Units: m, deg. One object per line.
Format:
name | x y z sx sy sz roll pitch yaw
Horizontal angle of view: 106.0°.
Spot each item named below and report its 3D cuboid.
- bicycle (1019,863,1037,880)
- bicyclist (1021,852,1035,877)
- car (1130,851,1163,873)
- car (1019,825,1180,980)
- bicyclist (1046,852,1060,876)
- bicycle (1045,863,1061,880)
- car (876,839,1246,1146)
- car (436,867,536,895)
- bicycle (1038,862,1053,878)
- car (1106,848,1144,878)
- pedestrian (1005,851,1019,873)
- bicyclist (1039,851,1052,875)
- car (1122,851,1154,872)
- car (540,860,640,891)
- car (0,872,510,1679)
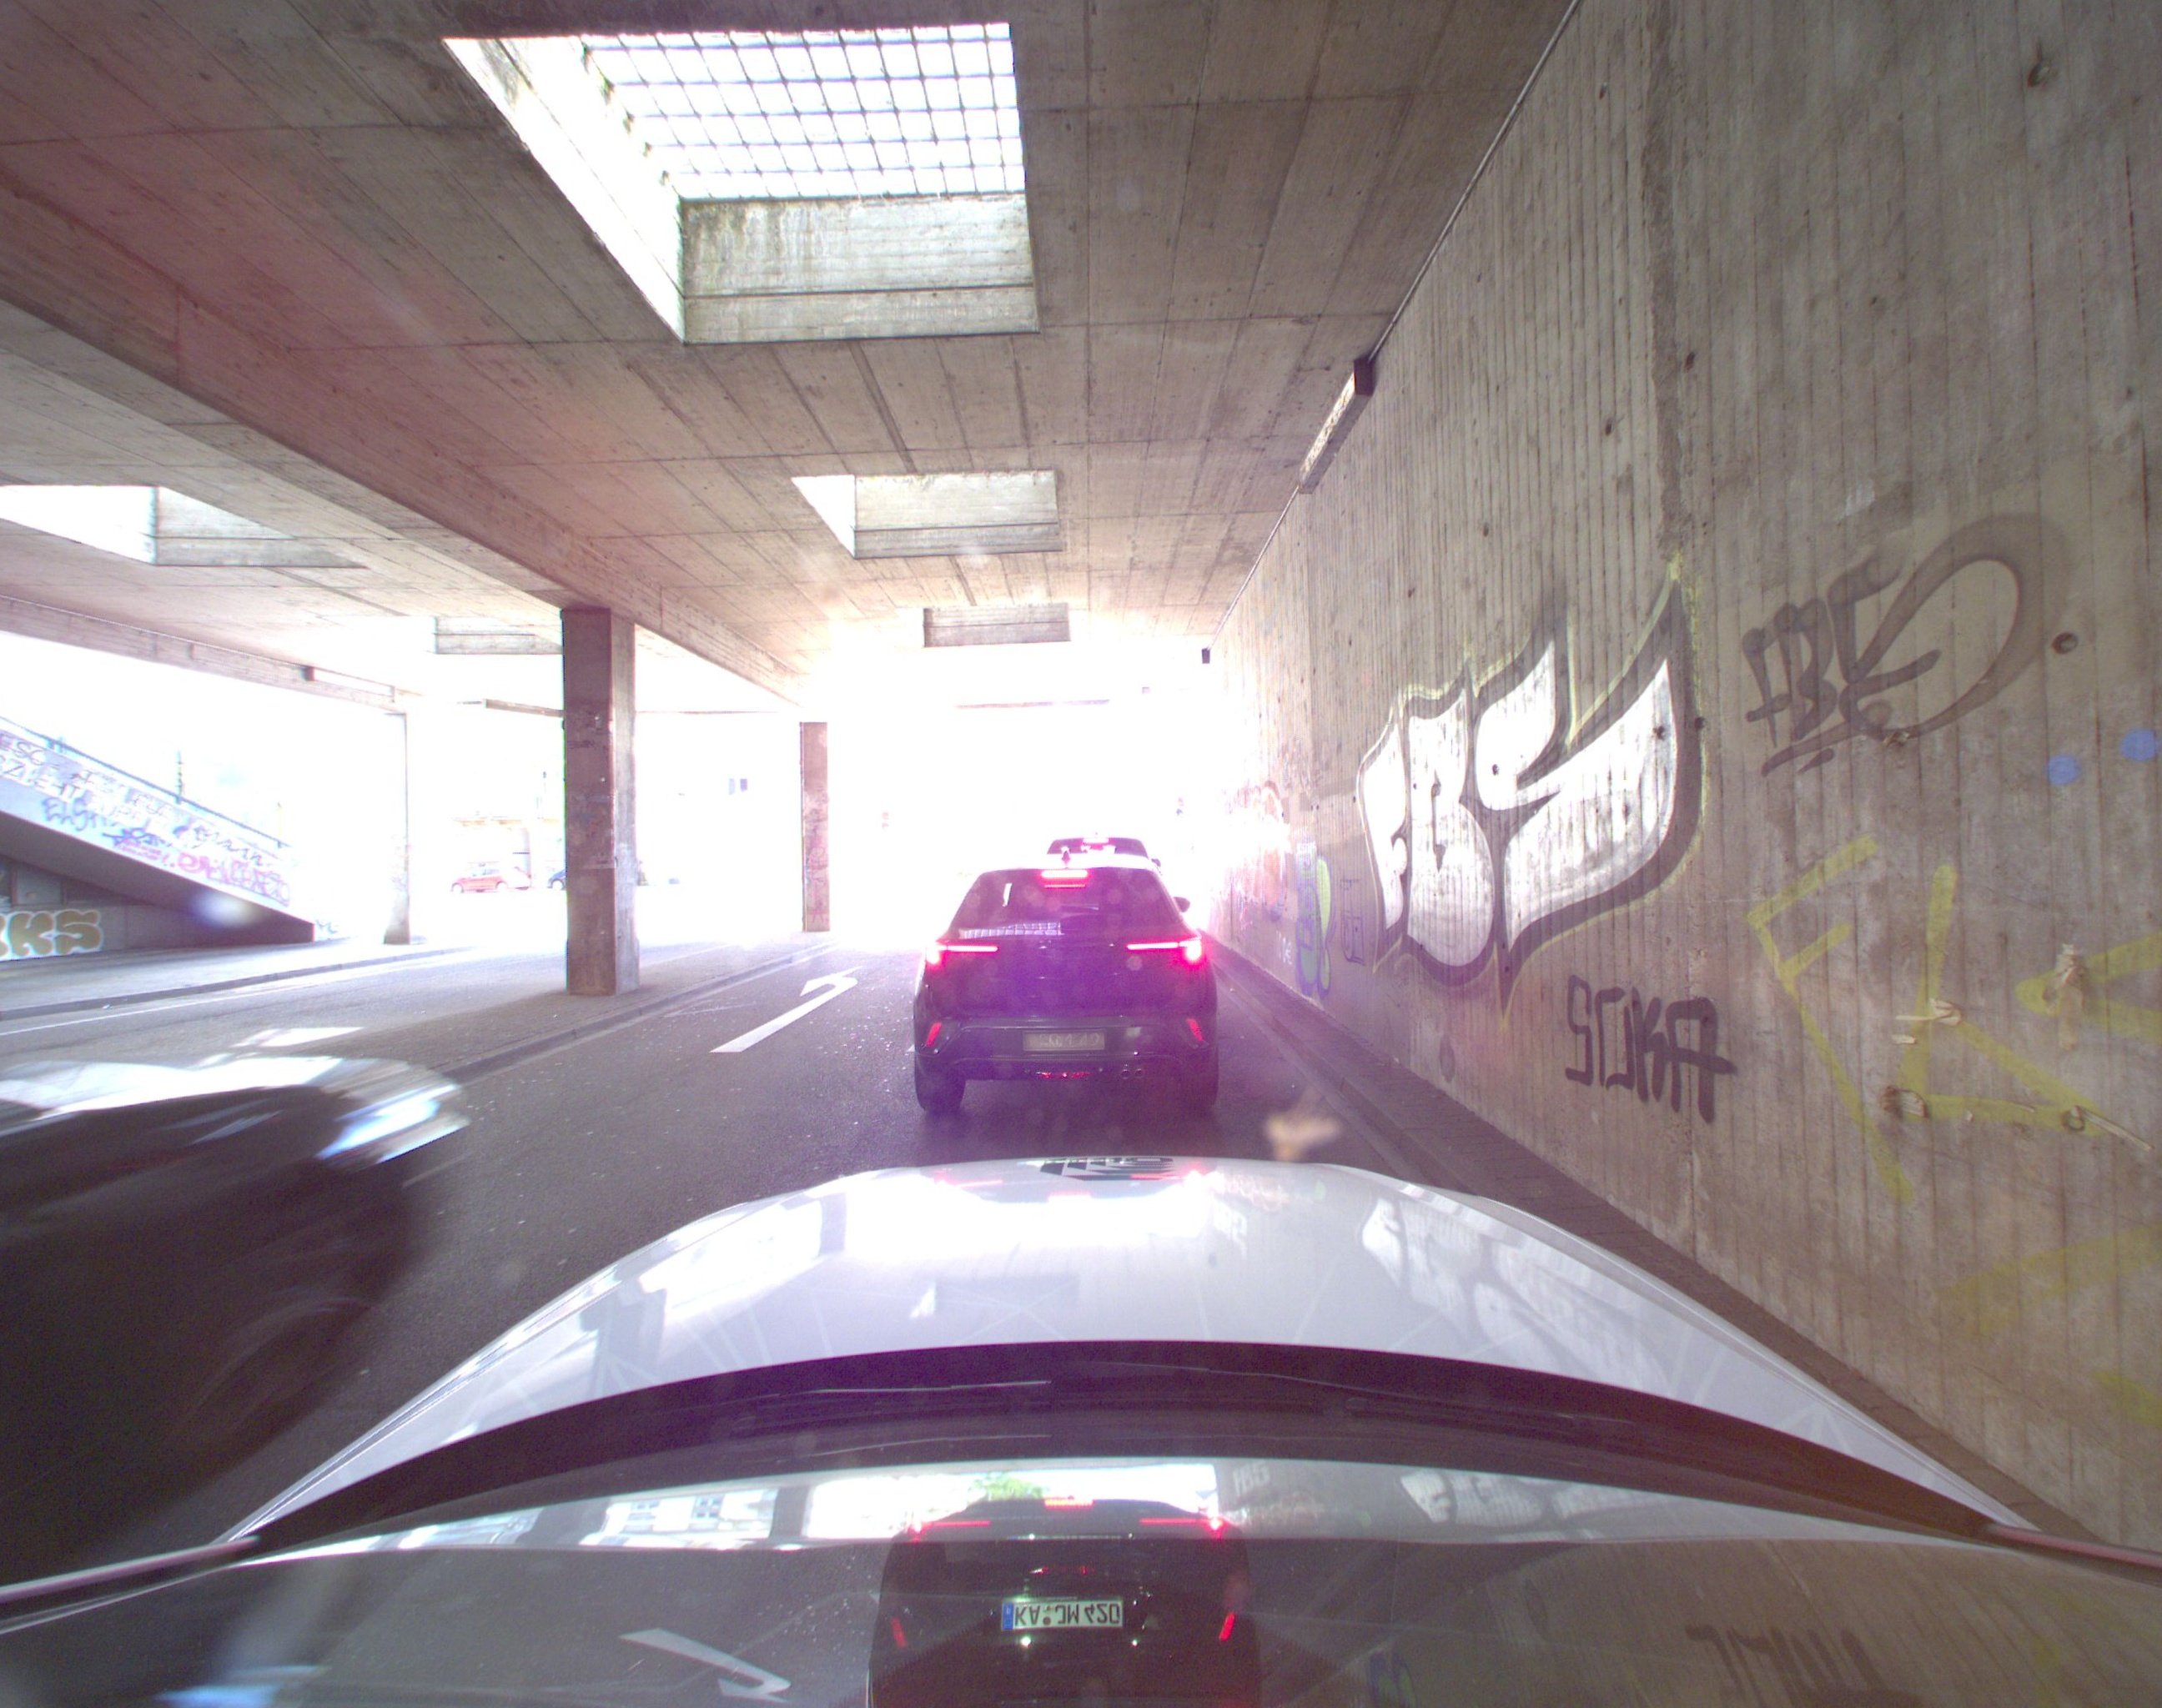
bicycle | -3.382 1.106 51.762 0.727 1.067 1.694 -1 -1 11
bicyclist | -3.373 0.648 51.797 0.724 1.581 0.817 -1 -1 11
car | 5.595 0.681 69.055 2.206 1.719 4.474 -2 -2 12
car | 0.289 0.599 12.026 1.938 1.860 3.966 -2 0 2
bicyclist | -1.813 0.640 52.296 0.724 1.581 0.817 -1 -1 11
bicycle | -1.783 1.097 52.259 0.621 1.067 1.694 -1 -1 11
car | -0.043 0.717 6.206 1.875 1.538 3.966 -2 0 2
car | -33.006 1.490 45.258 3.970 1.374 2.192 -2 0 3
bicycle | -2.424 1.120 56.280 0.621 1.067 1.694 -1 -1 11
car | 2.414 0.501 44.284 1.959 1.497 3.900 -2 -2 4
pedestrian | -6.535 0.751 76.901 0.986 2.013 1.091 -2 0 10
bicyclist | -2.448 0.624 56.162 0.724 1.581 0.817 -1 -1 11
car | 4.412 0.637 62.269 1.955 1.497 3.908 -2 -2 11
car | -27.202 1.197 45.259 4.114 1.550 2.268 -2 0 1
car | -2.891 0.797 0.714 1.773 1.447 4.178 1 0 1
